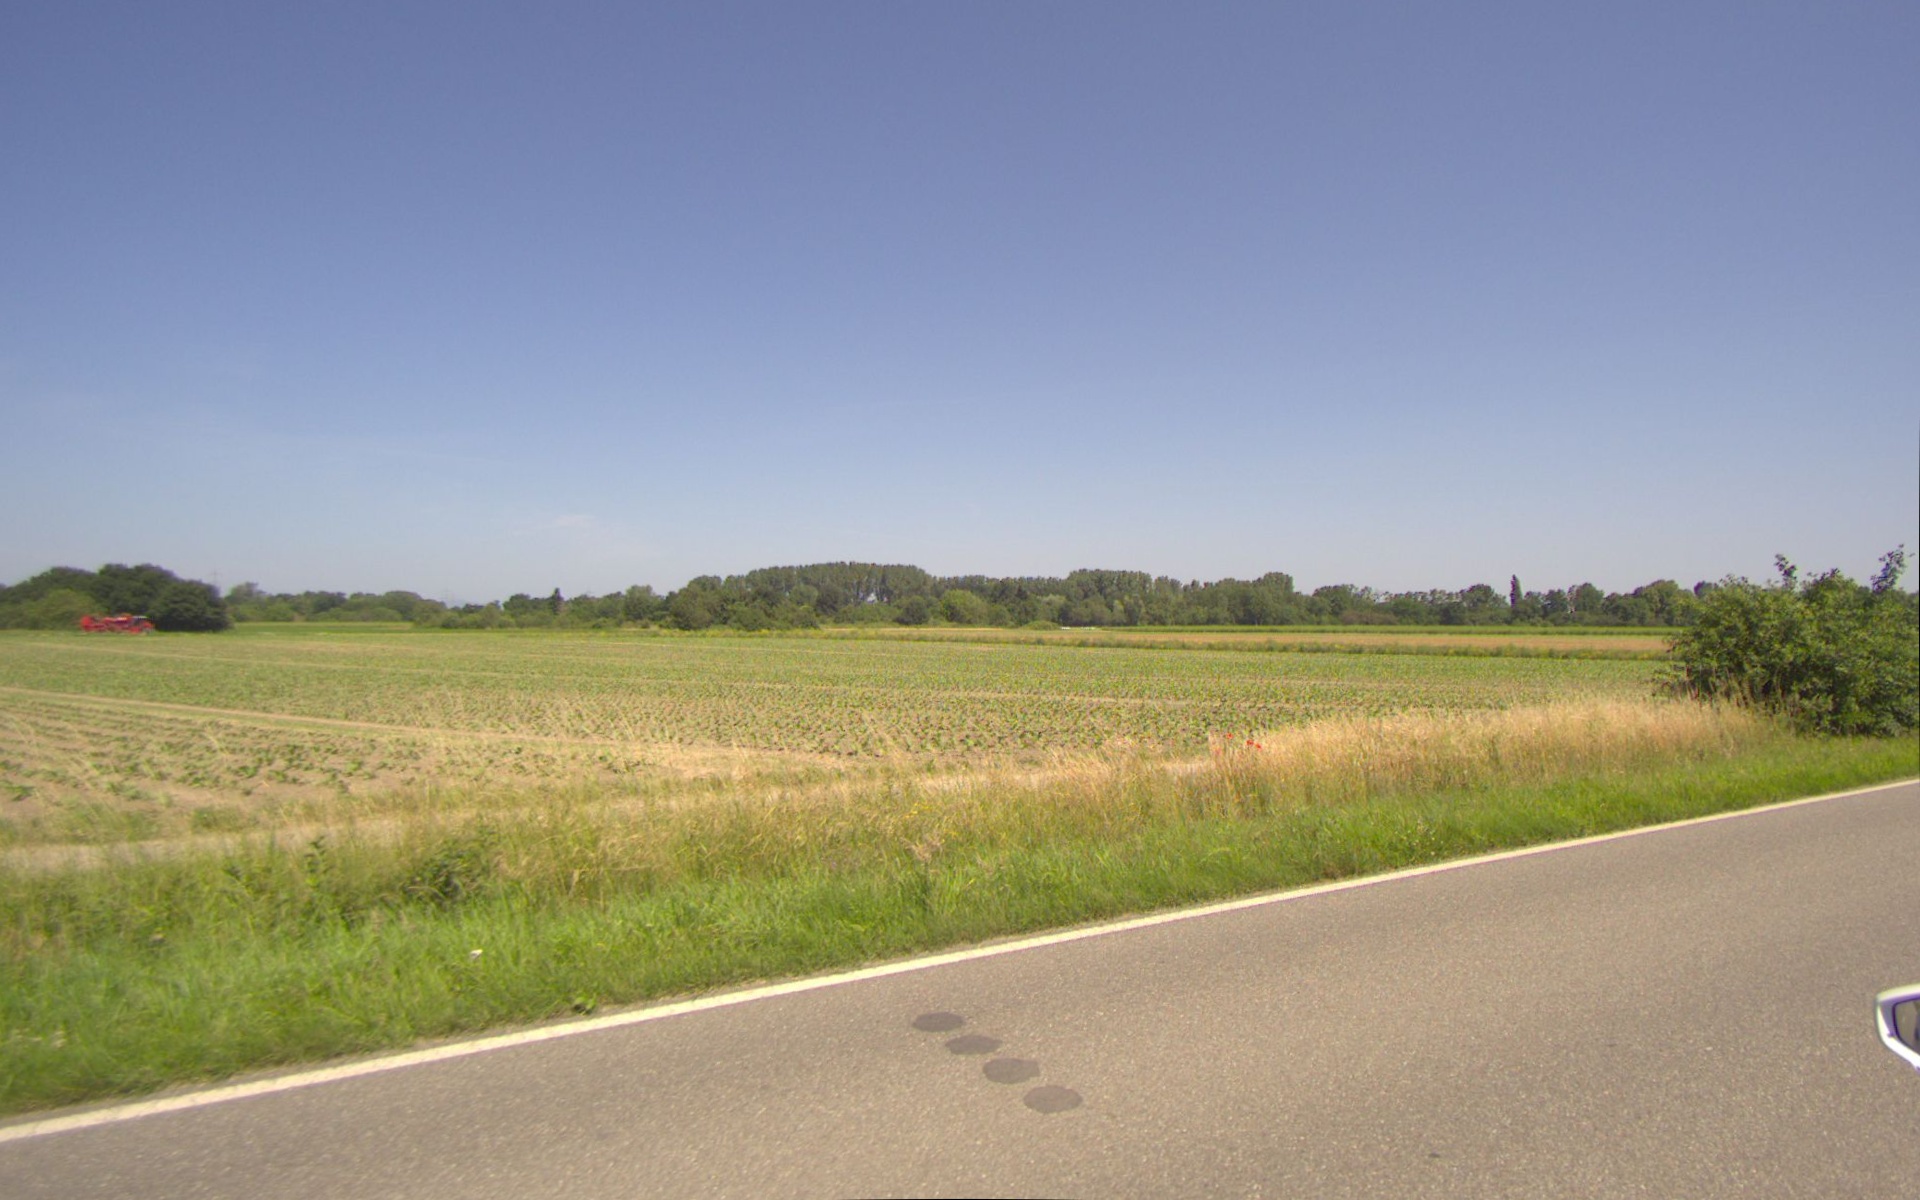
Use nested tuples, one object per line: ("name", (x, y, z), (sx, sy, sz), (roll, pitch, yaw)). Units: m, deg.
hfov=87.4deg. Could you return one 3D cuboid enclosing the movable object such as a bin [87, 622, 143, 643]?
("movable object such as a bin", (-161.350, 6.161, 191.811), (9.777, 3.899, 2.549), (-1, -2, 10))
